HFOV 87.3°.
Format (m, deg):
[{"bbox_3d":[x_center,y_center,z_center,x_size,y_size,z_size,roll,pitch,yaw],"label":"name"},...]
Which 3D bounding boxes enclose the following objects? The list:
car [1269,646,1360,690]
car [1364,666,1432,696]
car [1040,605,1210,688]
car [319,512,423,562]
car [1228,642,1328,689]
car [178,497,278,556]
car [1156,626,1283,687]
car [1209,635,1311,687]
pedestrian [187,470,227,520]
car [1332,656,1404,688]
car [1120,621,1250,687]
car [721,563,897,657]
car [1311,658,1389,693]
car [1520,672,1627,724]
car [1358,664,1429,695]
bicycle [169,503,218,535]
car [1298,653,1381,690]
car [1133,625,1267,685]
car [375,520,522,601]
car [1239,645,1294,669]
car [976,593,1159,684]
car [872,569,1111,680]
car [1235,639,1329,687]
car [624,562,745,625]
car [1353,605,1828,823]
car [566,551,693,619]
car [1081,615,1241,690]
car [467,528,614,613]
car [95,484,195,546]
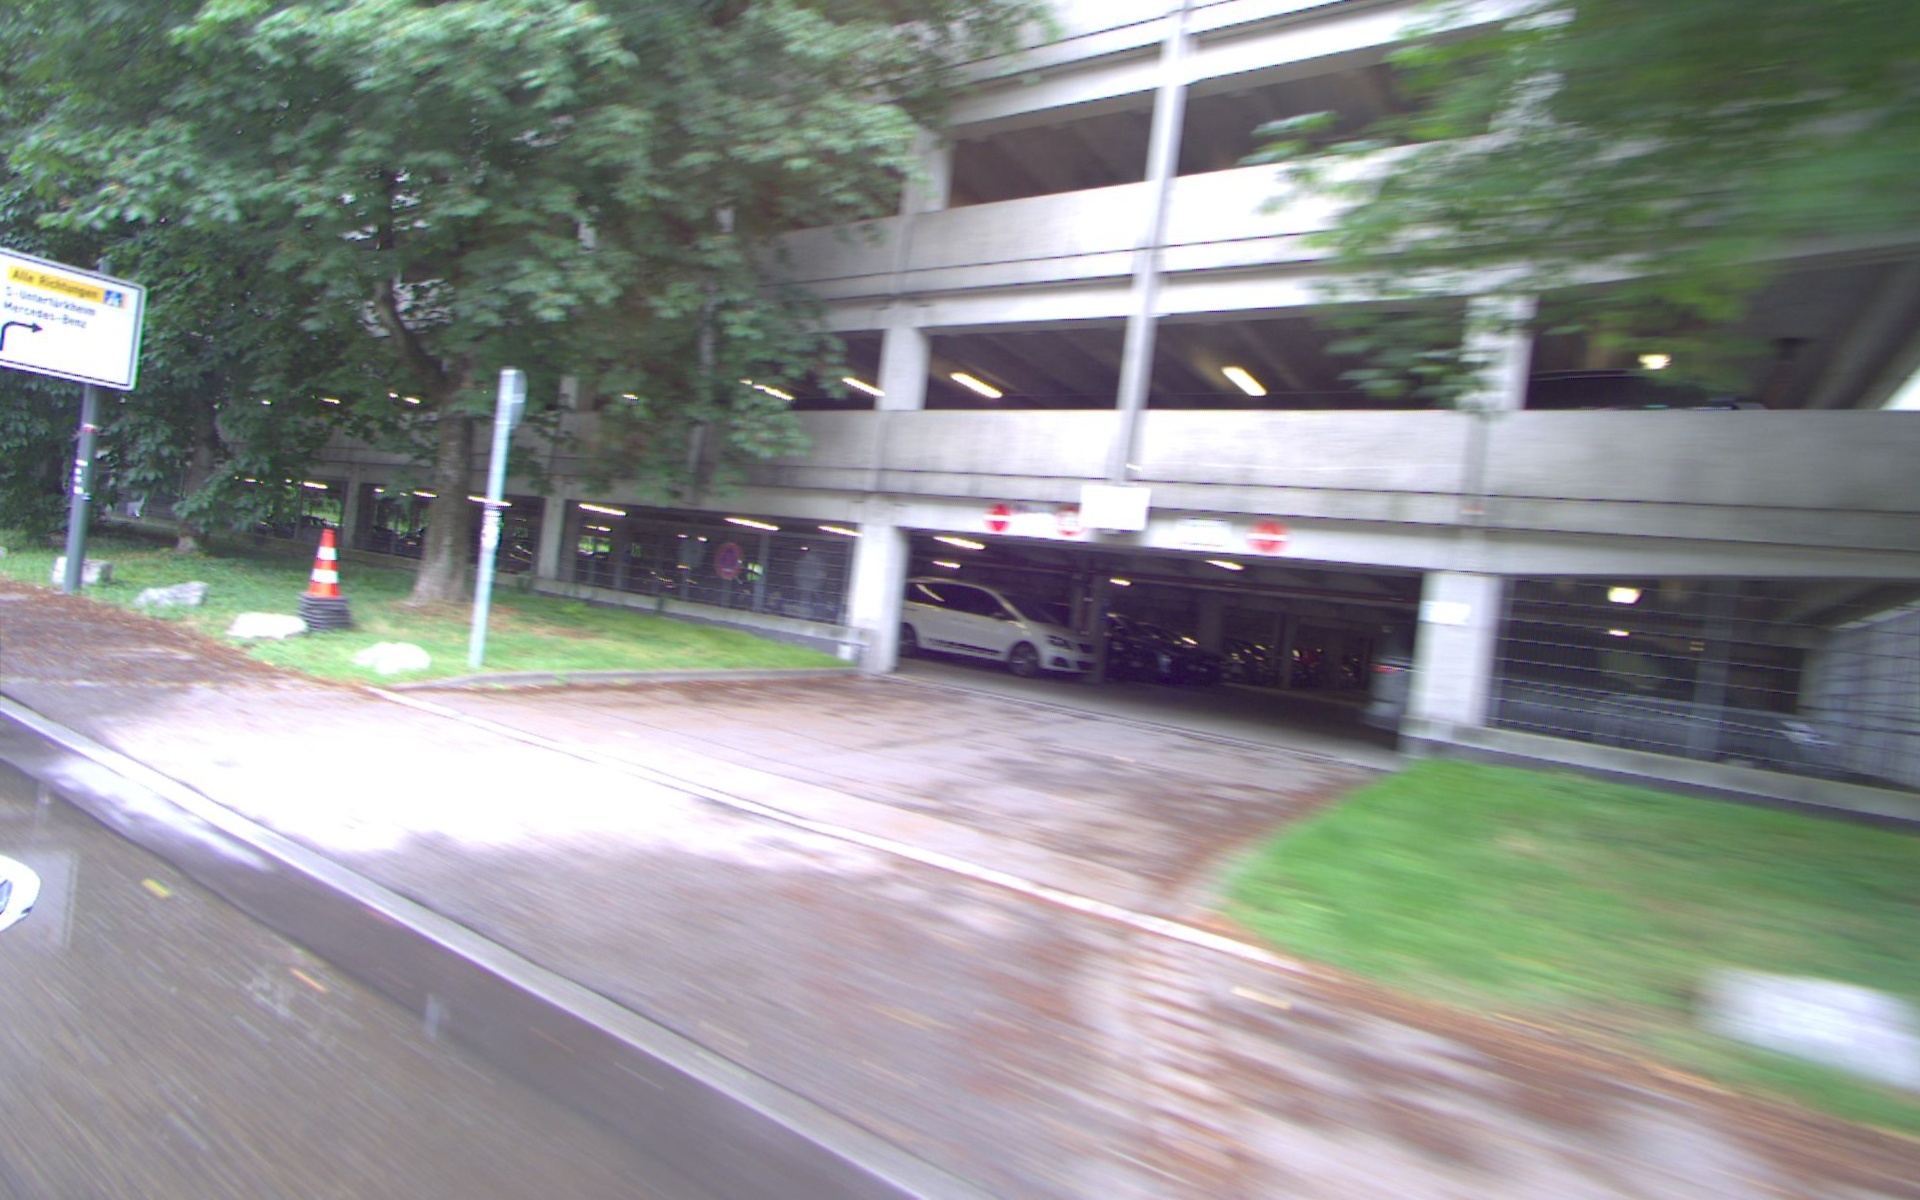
[{"bbox_3d":[14.506,2.791,41.204,3.152,1.380,1.511,6,-2,32],"label":"car"},{"bbox_3d":[24.179,4.481,55.516,3.152,1.226,1.511,6,-2,32],"label":"car"},{"bbox_3d":[4.060,1.145,24.879,3.641,1.564,1.719,6,-2,32],"label":"car"},{"bbox_3d":[-23.867,-2.560,40.741,3.935,1.570,1.996,6,-2,33],"label":"car"},{"bbox_3d":[11.838,2.433,37.485,3.152,1.350,1.511,6,-2,32],"label":"car"},{"bbox_3d":[-26.476,-2.656,36.356,3.708,1.728,1.582,6,-2,33],"label":"car"},{"bbox_3d":[8.646,1.885,33.611,3.641,1.564,1.719,6,-2,32],"label":"car"},{"bbox_3d":[10.562,2.139,35.422,3.059,1.445,1.441,6,-2,32],"label":"car"},{"bbox_3d":[-21.891,-3.058,29.243,0.626,1.333,0.641,6,-1,32],"label":"pedestrian"},{"bbox_3d":[20.958,3.679,51.701,3.152,1.226,1.511,6,-2,32],"label":"car"},{"bbox_3d":[6.518,1.560,29.218,3.235,1.484,1.572,6,-2,32],"label":"car"},{"bbox_3d":[-3.539,0.215,23.391,3.795,1.728,1.588,6,-2,33],"label":"car"},{"bbox_3d":[18.631,3.605,48.095,3.152,1.226,1.511,6,-2,32],"label":"car"},{"bbox_3d":[22.302,3.566,36.683,3.152,1.445,1.511,6,-2,32],"label":"car"},{"bbox_3d":[23.063,4.226,53.535,3.152,1.226,1.511,6,-2,32],"label":"car"},{"bbox_3d":[-21.991,-2.324,28.853,1.469,0.745,0.448,6,-1,25],"label":"bicycle"},{"bbox_3d":[16.991,3.214,45.040,3.152,1.226,1.511,6,-2,32],"label":"car"},{"bbox_3d":[7.555,1.742,31.707,3.641,1.400,1.719,6,-2,32],"label":"car"},{"bbox_3d":[-16.397,-1.284,32.176,4.598,2.037,1.996,6,-2,33],"label":"car"},{"bbox_3d":[20.696,3.844,67.986,3.152,1.226,1.511,6,-2,32],"label":"car"},{"bbox_3d":[2.437,0.865,22.927,3.631,1.605,1.719,6,-2,32],"label":"car"},{"bbox_3d":[0.576,0.466,20.540,4.592,1.728,1.588,6,-2,33],"label":"car"},{"bbox_3d":[12.707,2.484,39.771,3.152,1.445,1.511,6,-2,32],"label":"car"},{"bbox_3d":[-9.229,-0.224,33.653,3.641,1.626,1.719,6,-2,32],"label":"car"},{"bbox_3d":[7.785,1.323,12.902,4.658,1.856,1.922,7,-1,33],"label":"car"},{"bbox_3d":[-10.454,-0.478,31.803,3.641,1.700,1.719,6,-2,32],"label":"car"},{"bbox_3d":[5.280,1.383,26.520,3.641,1.484,1.719,6,-2,32],"label":"car"},{"bbox_3d":[-12.412,-0.876,29.704,3.936,2.037,1.996,6,-2,34],"label":"car"},{"bbox_3d":[-27.931,-2.924,34.438,3.659,1.728,1.482,6,-1,33],"label":"car"}]
